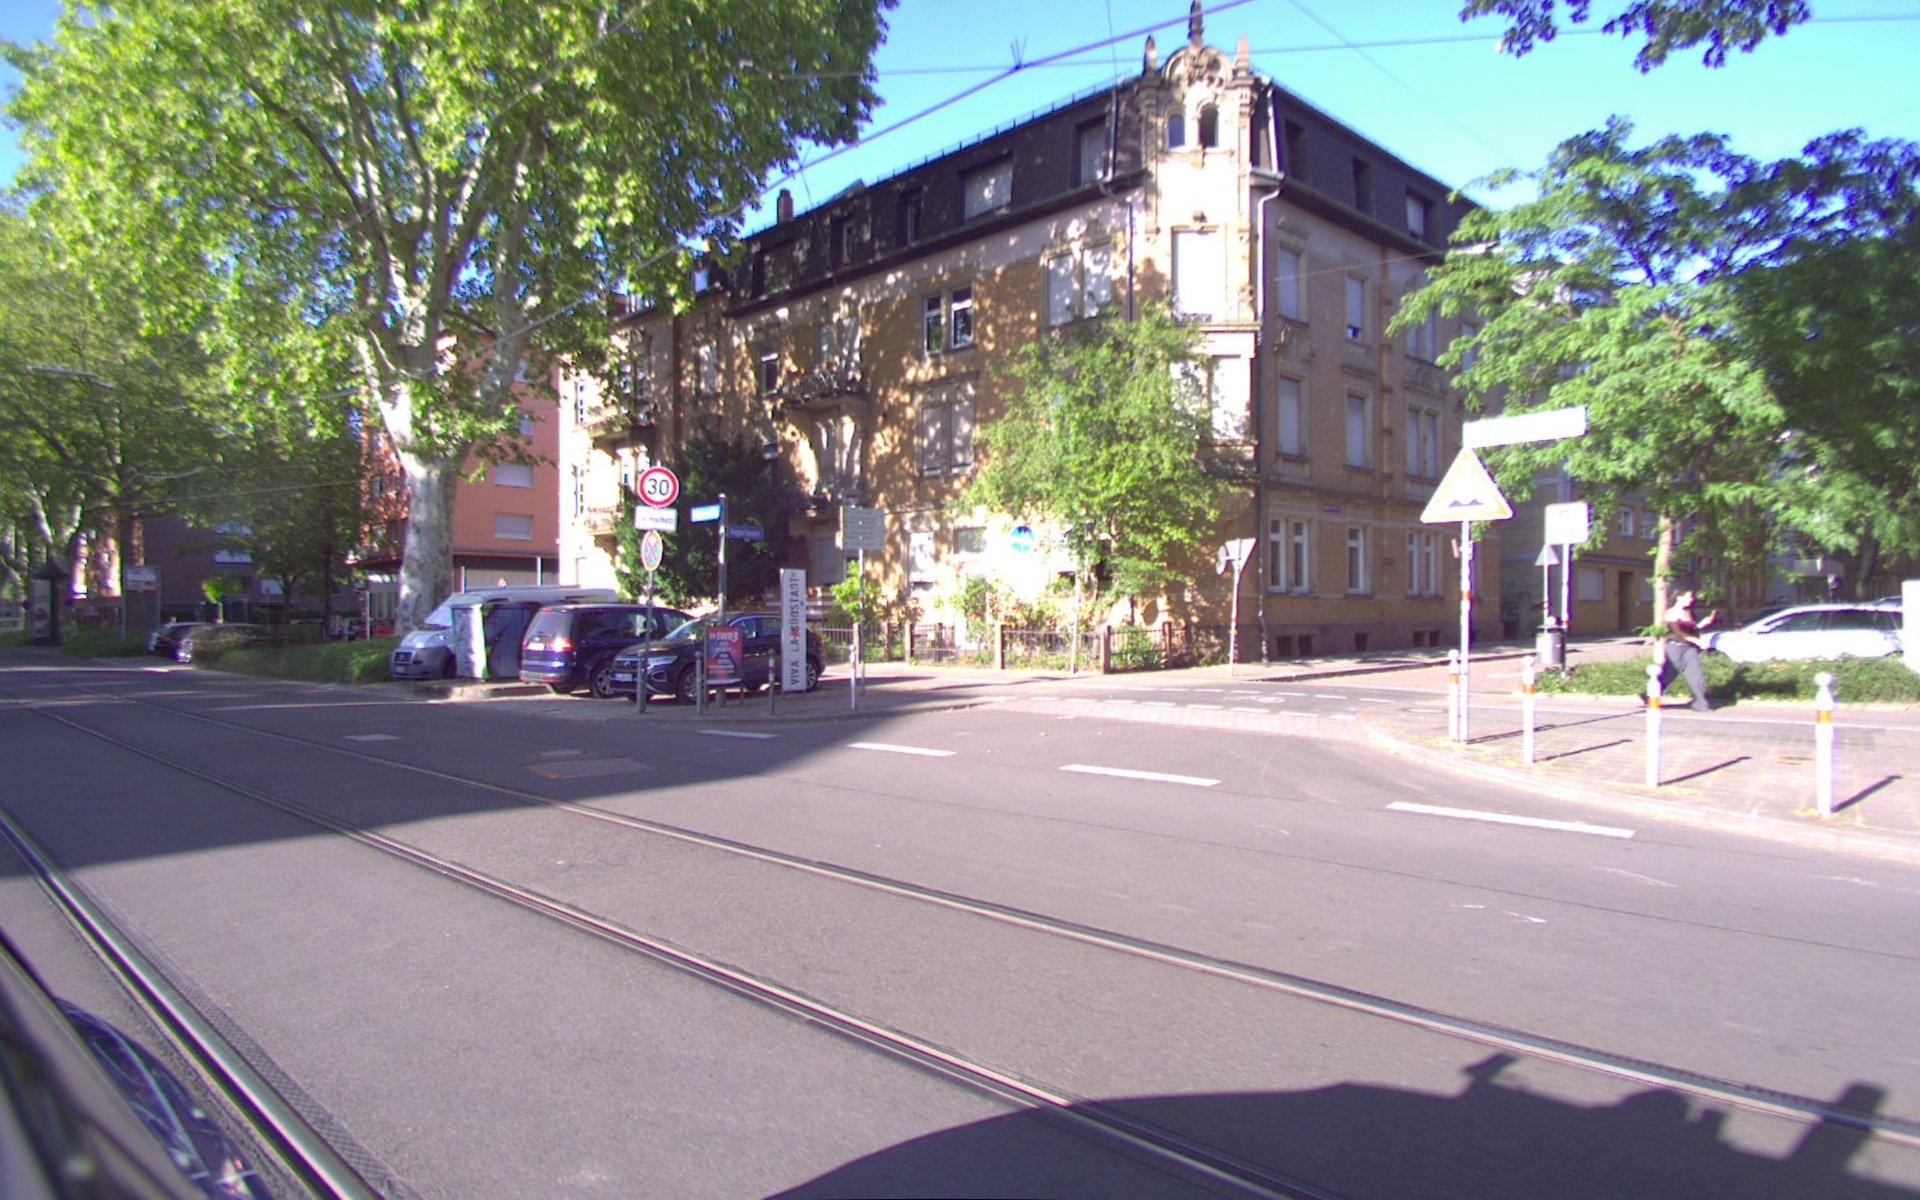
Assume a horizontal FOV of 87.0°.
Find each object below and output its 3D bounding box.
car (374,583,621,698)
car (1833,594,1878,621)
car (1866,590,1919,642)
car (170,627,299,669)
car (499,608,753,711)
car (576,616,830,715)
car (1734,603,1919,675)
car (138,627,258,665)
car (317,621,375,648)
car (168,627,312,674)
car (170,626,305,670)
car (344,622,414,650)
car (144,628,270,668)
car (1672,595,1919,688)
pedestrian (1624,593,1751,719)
[{"bbox_3d":[-10.811,0.890,23.982,2.026,2.416,4.956,-2,-2,39],"label":"car"},{"bbox_3d":[52.591,0.434,59.440,3.015,1.530,1.485,0,-1,-39],"label":"car"},{"bbox_3d":[29.205,0.475,29.969,1.460,1.530,3.352,0,-1,-41],"label":"car"},{"bbox_3d":[-29.084,1.884,40.639,1.809,1.527,3.916,-2,-2,39],"label":"car"},{"bbox_3d":[-6.493,1.078,20.066,2.026,1.779,4.408,-2,-2,39],"label":"car"},{"bbox_3d":[-4.528,1.090,18.283,1.924,1.527,4.118,-2,-2,39],"label":"car"},{"bbox_3d":[18.613,0.791,21.383,1.460,1.402,3.352,0,-1,-41],"label":"car"},{"bbox_3d":[-33.264,1.973,44.257,1.809,1.527,3.916,-2,-2,39],"label":"car"},{"bbox_3d":[-34.468,1.940,56.794,3.648,1.458,1.650,-1,-3,40],"label":"car"},{"bbox_3d":[-25.904,1.794,36.515,1.809,1.527,3.916,-2,-2,39],"label":"car"},{"bbox_3d":[-27.756,1.828,38.966,1.809,1.527,3.916,-2,-2,39],"label":"car"},{"bbox_3d":[-30.942,1.904,53.837,4.606,1.458,1.650,-1,-3,40],"label":"car"},{"bbox_3d":[-31.327,1.971,42.163,1.809,1.527,3.916,-2,-2,39],"label":"car"},{"bbox_3d":[15.576,0.693,17.878,1.681,1.507,4.616,0,-1,-41],"label":"car"},{"bbox_3d":[9.697,0.709,13.502,1.076,1.589,1.029,0,0,-31],"label":"pedestrian"}]
